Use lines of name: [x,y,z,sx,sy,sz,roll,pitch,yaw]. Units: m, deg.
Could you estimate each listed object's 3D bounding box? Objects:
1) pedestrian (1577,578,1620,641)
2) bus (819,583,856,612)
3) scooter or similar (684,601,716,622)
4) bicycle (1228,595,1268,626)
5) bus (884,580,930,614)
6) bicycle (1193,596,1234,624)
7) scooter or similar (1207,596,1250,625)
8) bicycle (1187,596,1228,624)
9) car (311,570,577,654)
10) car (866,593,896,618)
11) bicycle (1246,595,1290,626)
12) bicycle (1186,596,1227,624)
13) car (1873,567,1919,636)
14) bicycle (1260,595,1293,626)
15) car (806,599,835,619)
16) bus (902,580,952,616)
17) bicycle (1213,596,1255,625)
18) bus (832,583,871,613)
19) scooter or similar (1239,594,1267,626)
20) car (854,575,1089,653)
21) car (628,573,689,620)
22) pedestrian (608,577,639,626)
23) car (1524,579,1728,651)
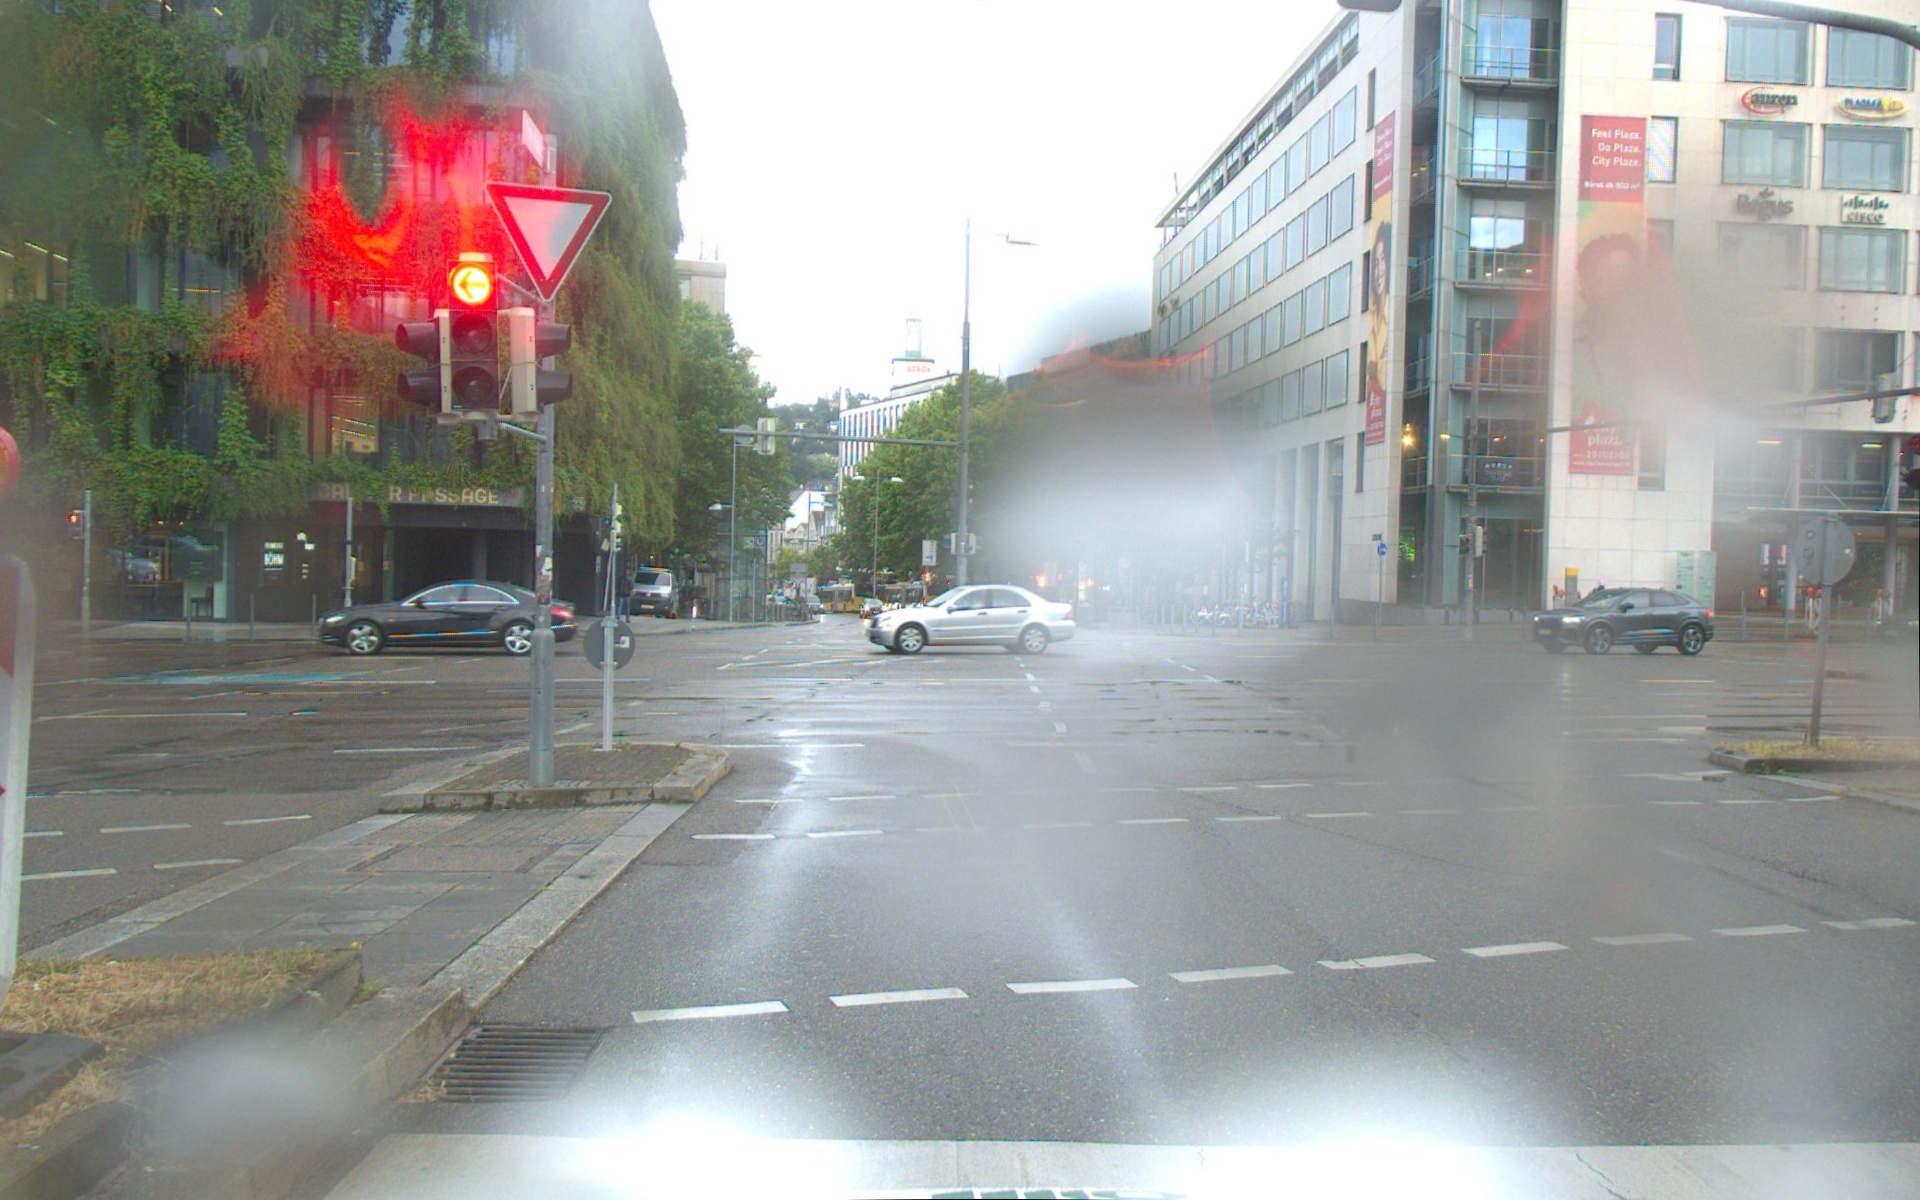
pedestrian: [19.307,0.289,50.041,0.942,1.848,0.836,1,-1,-1]
bus: [-13.348,-0.323,180.127,2.585,3.048,7.417,0,0,-16]
scooter or similar: [-12.935,0.548,82.337,0.612,1.022,1.653,1,0,37]
bicycle: [11.585,0.414,66.562,0.578,1.215,1.766,1,0,-28]
bus: [-4.972,-0.268,153.012,2.585,3.048,7.417,0,0,-16]
bicycle: [11.422,0.445,74.490,1.741,1.215,0.586,1,-1,1]
scooter or similar: [11.548,0.433,71.149,1.741,1.215,0.586,1,-1,1]
bicycle: [11.005,0.434,73.566,1.741,1.215,0.586,1,-1,1]
car: [-9.973,0.262,32.253,4.768,1.503,1.991,1,-2,-16]
car: [-6.078,0.432,126.571,2.121,1.796,5.108,3,0,-4]
bicycle: [12.122,0.416,65.018,1.590,1.215,0.586,1,-1,25]
bicycle: [10.863,0.428,72.930,1.741,1.215,0.586,1,-1,1]
car: [30.134,0.088,49.897,4.567,2.049,1.546,1,0,-9]
bicycle: [12.860,0.438,67.139,0.575,1.215,1.776,1,-1,37]
car: [-12.997,0.820,153.684,2.125,1.796,4.817,-1,0,-11]
bus: [-2.975,-0.212,145.896,2.585,3.048,7.417,0,0,-16]
bicycle: [11.892,0.441,71.777,1.741,1.215,0.586,1,-1,1]
bus: [-11.350,-0.244,173.060,2.585,3.048,7.296,0,0,-16]
scooter or similar: [11.386,0.401,64.323,0.946,1.215,0.453,1,-1,40]
car: [0.213,0.263,35.106,4.639,1.502,1.993,0,3,-15]
car: [-12.387,-0.138,68.138,1.832,1.871,3.999,1,0,-1]
pedestrian: [-11.698,0.046,57.538,0.915,1.673,0.774,1,-1,-1]
car: [16.017,0.372,39.820,4.402,1.637,1.823,1,0,-17]
